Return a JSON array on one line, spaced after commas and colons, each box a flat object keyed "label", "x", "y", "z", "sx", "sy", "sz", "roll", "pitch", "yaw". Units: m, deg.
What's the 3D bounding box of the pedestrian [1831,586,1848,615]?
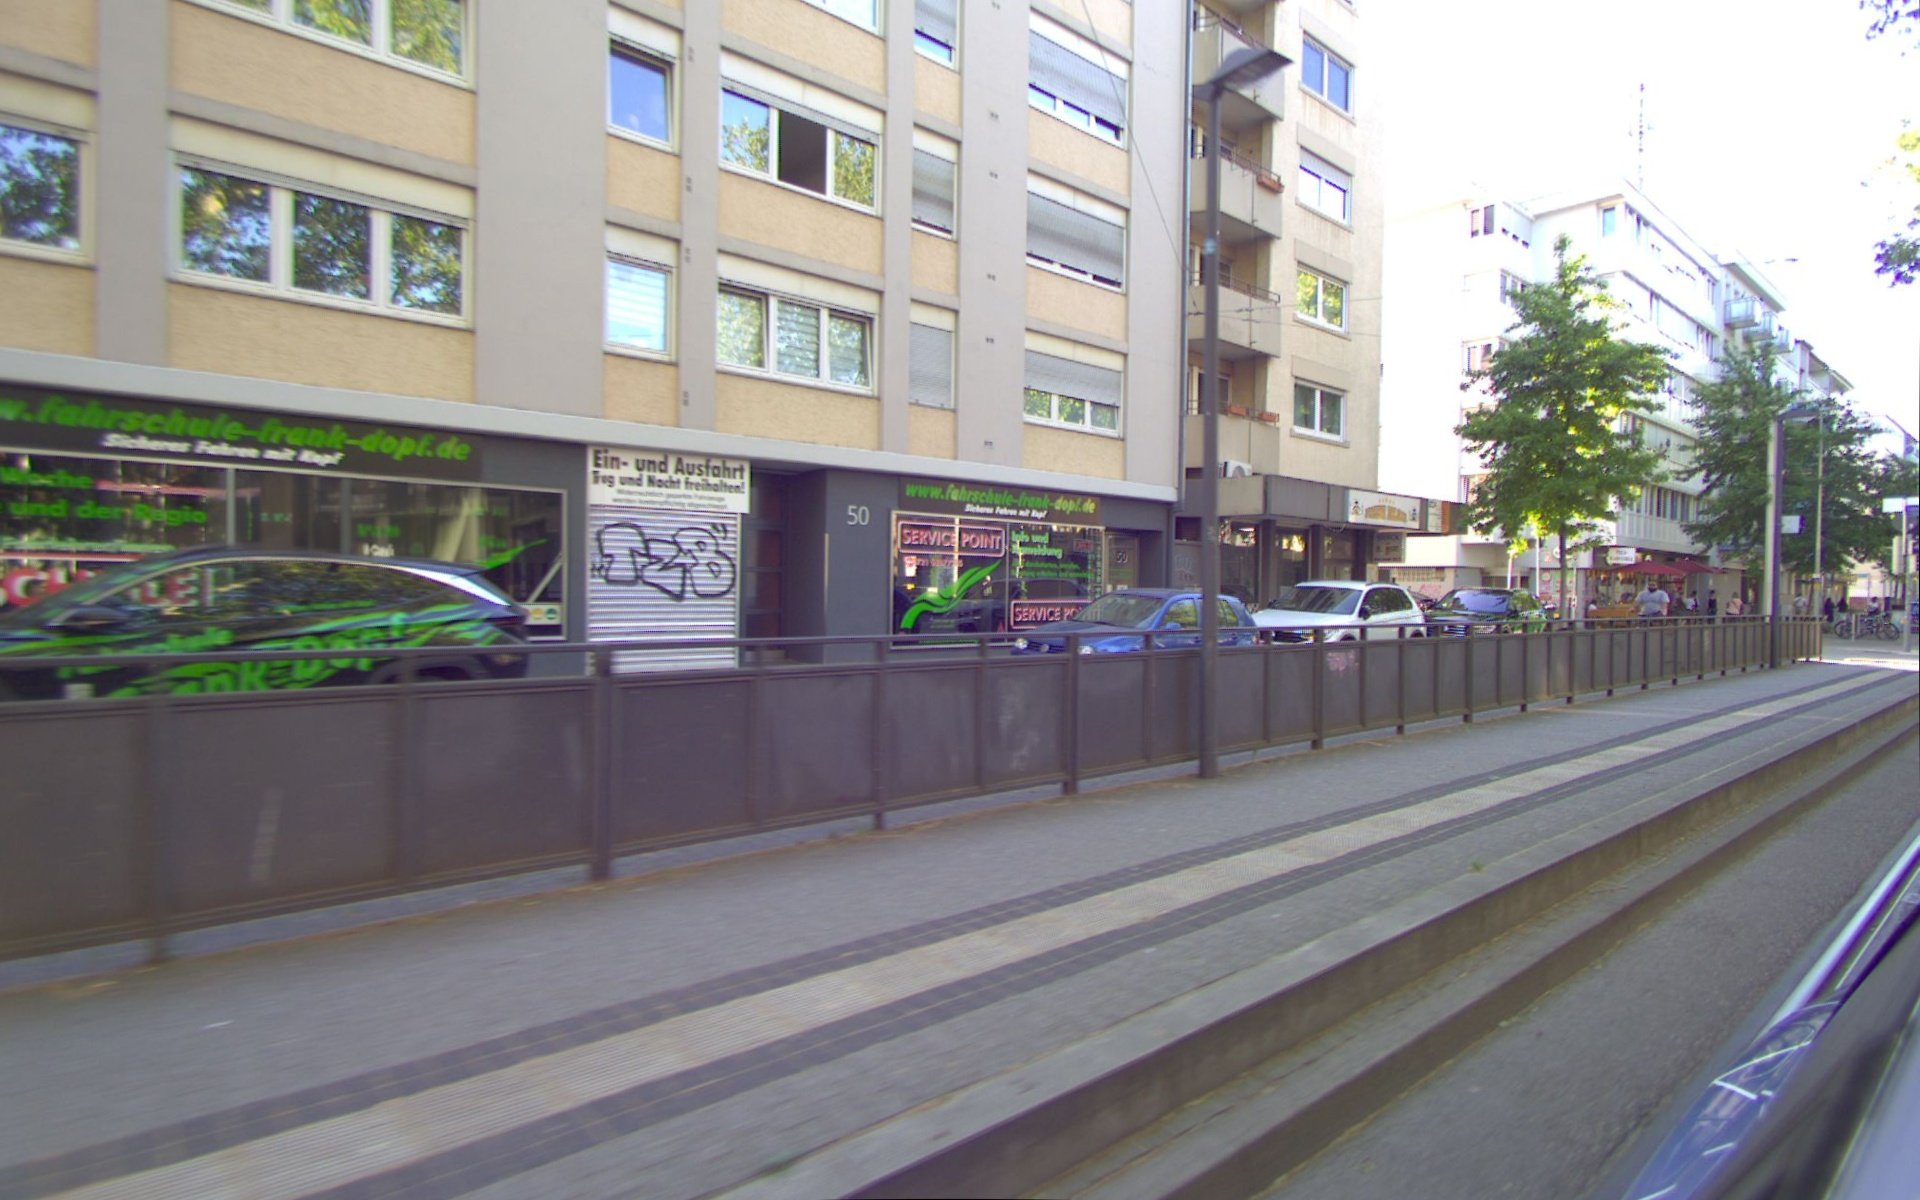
[{"label": "pedestrian", "x": 53.810, "y": 0.023, "z": 61.902, "sx": 0.919, "sy": 1.698, "sz": 0.597, "roll": 0, "pitch": 3, "yaw": -43}]

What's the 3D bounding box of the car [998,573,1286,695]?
[{"label": "car", "x": 2.646, "y": 0.372, "z": 14.135, "sx": 4.173, "sy": 1.458, "sz": 1.747, "roll": -1, "pitch": 1, "yaw": -41}]

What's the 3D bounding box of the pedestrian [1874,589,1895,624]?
[{"label": "pedestrian", "x": 49.617, "y": 0.339, "z": 54.318, "sx": 0.650, "sy": 1.875, "sz": 0.540, "roll": 0, "pitch": 0, "yaw": -13}]

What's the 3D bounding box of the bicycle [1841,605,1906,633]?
[{"label": "bicycle", "x": 34.612, "y": 0.695, "z": 38.362, "sx": 0.473, "sy": 1.006, "sz": 1.817, "roll": 0, "pitch": 1, "yaw": -43}]

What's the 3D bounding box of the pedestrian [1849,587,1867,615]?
[{"label": "pedestrian", "x": 54.380, "y": 0.057, "z": 61.292, "sx": 0.855, "sy": 1.657, "sz": 0.643, "roll": 0, "pitch": 3, "yaw": -43}]

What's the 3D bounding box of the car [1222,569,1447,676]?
[{"label": "car", "x": 6.552, "y": 0.313, "z": 17.494, "sx": 4.338, "sy": 1.626, "sz": 1.803, "roll": -1, "pitch": 1, "yaw": -41}]

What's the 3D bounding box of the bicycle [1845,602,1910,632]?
[{"label": "bicycle", "x": 35.195, "y": 0.653, "z": 38.846, "sx": 1.814, "sy": 1.114, "sz": 0.490, "roll": 1, "pitch": 1, "yaw": 42}]

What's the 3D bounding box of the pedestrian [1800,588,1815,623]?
[{"label": "pedestrian", "x": 43.983, "y": 0.260, "z": 52.521, "sx": 0.589, "sy": 1.806, "sz": 0.981, "roll": 0, "pitch": 0, "yaw": 40}]

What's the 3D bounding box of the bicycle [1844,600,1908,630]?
[{"label": "bicycle", "x": 35.655, "y": 0.585, "z": 39.415, "sx": 1.814, "sy": 1.114, "sz": 0.474, "roll": 1, "pitch": 1, "yaw": 42}]

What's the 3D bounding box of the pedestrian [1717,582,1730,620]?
[{"label": "pedestrian", "x": 37.034, "y": 0.058, "z": 49.071, "sx": 0.481, "sy": 1.818, "sz": 0.432, "roll": 0, "pitch": 0, "yaw": -42}]

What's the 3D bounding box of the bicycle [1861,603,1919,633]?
[{"label": "bicycle", "x": 36.601, "y": 0.702, "z": 39.677, "sx": 0.516, "sy": 1.114, "sz": 1.818, "roll": 0, "pitch": 2, "yaw": -41}]

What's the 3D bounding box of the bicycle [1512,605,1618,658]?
[{"label": "bicycle", "x": 14.572, "y": 0.730, "z": 24.456, "sx": 0.668, "sy": 1.202, "sz": 2.134, "roll": 0, "pitch": 1, "yaw": -32}]

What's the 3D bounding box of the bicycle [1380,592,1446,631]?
[{"label": "bicycle", "x": 14.859, "y": 0.358, "z": 33.245, "sx": 0.502, "sy": 1.223, "sz": 1.915, "roll": 2, "pitch": -1, "yaw": -44}]

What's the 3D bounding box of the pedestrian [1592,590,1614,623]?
[{"label": "pedestrian", "x": 25.831, "y": 0.272, "z": 40.651, "sx": 0.703, "sy": 1.303, "sz": 0.536, "roll": 0, "pitch": 0, "yaw": -40}]

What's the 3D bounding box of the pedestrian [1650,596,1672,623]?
[{"label": "pedestrian", "x": 28.277, "y": 0.372, "z": 40.843, "sx": 0.513, "sy": 1.092, "sz": 0.642, "roll": 0, "pitch": 0, "yaw": -42}]

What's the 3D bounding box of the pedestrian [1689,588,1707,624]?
[{"label": "pedestrian", "x": 34.405, "y": 0.271, "z": 47.197, "sx": 0.500, "sy": 1.649, "sz": 0.516, "roll": 0, "pitch": 0, "yaw": 12}]

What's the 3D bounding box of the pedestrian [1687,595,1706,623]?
[{"label": "pedestrian", "x": 34.424, "y": 0.429, "z": 47.305, "sx": 0.501, "sy": 1.292, "sz": 0.624, "roll": 0, "pitch": 0, "yaw": 12}]

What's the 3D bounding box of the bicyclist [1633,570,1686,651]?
[{"label": "bicyclist", "x": 16.404, "y": 0.234, "z": 23.725, "sx": 1.080, "sy": 1.854, "sz": 0.768, "roll": 0, "pitch": 0, "yaw": -41}]

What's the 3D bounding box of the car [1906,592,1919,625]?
[{"label": "car", "x": 49.517, "y": 0.446, "z": 51.345, "sx": 4.254, "sy": 1.606, "sz": 1.763, "roll": 0, "pitch": 5, "yaw": -42}]

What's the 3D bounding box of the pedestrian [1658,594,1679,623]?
[{"label": "pedestrian", "x": 29.660, "y": 0.365, "z": 42.367, "sx": 0.513, "sy": 1.190, "sz": 0.659, "roll": 0, "pitch": 0, "yaw": -42}]

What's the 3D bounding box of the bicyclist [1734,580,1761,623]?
[{"label": "bicyclist", "x": 32.335, "y": 0.063, "z": 41.575, "sx": 0.948, "sy": 1.739, "sz": 0.678, "roll": 0, "pitch": 0, "yaw": -39}]

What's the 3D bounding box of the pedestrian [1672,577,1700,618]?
[{"label": "pedestrian", "x": 30.710, "y": -0.112, "z": 42.823, "sx": 0.666, "sy": 1.680, "sz": 0.814, "roll": 0, "pitch": 0, "yaw": -37}]

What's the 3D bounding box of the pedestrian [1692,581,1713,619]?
[{"label": "pedestrian", "x": 35.780, "y": 0.015, "z": 48.763, "sx": 0.620, "sy": 1.828, "sz": 0.526, "roll": 0, "pitch": 0, "yaw": 2}]

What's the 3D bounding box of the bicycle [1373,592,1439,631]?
[{"label": "bicycle", "x": 14.434, "y": 0.354, "z": 32.816, "sx": 0.502, "sy": 1.223, "sz": 1.915, "roll": 0, "pitch": 0, "yaw": -44}]

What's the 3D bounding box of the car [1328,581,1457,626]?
[{"label": "car", "x": 16.836, "y": 0.088, "z": 39.524, "sx": 1.933, "sy": 1.612, "sz": 4.255, "roll": -2, "pitch": 2, "yaw": -41}]

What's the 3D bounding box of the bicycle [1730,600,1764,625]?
[{"label": "bicycle", "x": 32.390, "y": 0.488, "z": 41.633, "sx": 1.986, "sy": 0.975, "sz": 0.678, "roll": -1, "pitch": 1, "yaw": -39}]

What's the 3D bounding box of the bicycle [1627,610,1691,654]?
[{"label": "bicycle", "x": 16.414, "y": 0.739, "z": 23.736, "sx": 1.905, "sy": 0.949, "sz": 0.790, "roll": -1, "pitch": 1, "yaw": -41}]

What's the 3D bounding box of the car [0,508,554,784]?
[{"label": "car", "x": -5.483, "y": 0.251, "z": 7.406, "sx": 4.321, "sy": 1.636, "sz": 1.860, "roll": -1, "pitch": 1, "yaw": -41}]

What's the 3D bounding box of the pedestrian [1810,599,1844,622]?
[{"label": "pedestrian", "x": 40.140, "y": 0.476, "z": 46.856, "sx": 0.647, "sy": 1.040, "sz": 1.003, "roll": 0, "pitch": 0, "yaw": -23}]

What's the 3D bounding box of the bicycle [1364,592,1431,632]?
[{"label": "bicycle", "x": 13.967, "y": 0.366, "z": 32.360, "sx": 0.503, "sy": 1.223, "sz": 1.915, "roll": -1, "pitch": 1, "yaw": -44}]

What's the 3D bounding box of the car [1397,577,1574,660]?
[{"label": "car", "x": 11.577, "y": 0.327, "z": 22.179, "sx": 4.367, "sy": 1.636, "sz": 1.997, "roll": -1, "pitch": 1, "yaw": -41}]
